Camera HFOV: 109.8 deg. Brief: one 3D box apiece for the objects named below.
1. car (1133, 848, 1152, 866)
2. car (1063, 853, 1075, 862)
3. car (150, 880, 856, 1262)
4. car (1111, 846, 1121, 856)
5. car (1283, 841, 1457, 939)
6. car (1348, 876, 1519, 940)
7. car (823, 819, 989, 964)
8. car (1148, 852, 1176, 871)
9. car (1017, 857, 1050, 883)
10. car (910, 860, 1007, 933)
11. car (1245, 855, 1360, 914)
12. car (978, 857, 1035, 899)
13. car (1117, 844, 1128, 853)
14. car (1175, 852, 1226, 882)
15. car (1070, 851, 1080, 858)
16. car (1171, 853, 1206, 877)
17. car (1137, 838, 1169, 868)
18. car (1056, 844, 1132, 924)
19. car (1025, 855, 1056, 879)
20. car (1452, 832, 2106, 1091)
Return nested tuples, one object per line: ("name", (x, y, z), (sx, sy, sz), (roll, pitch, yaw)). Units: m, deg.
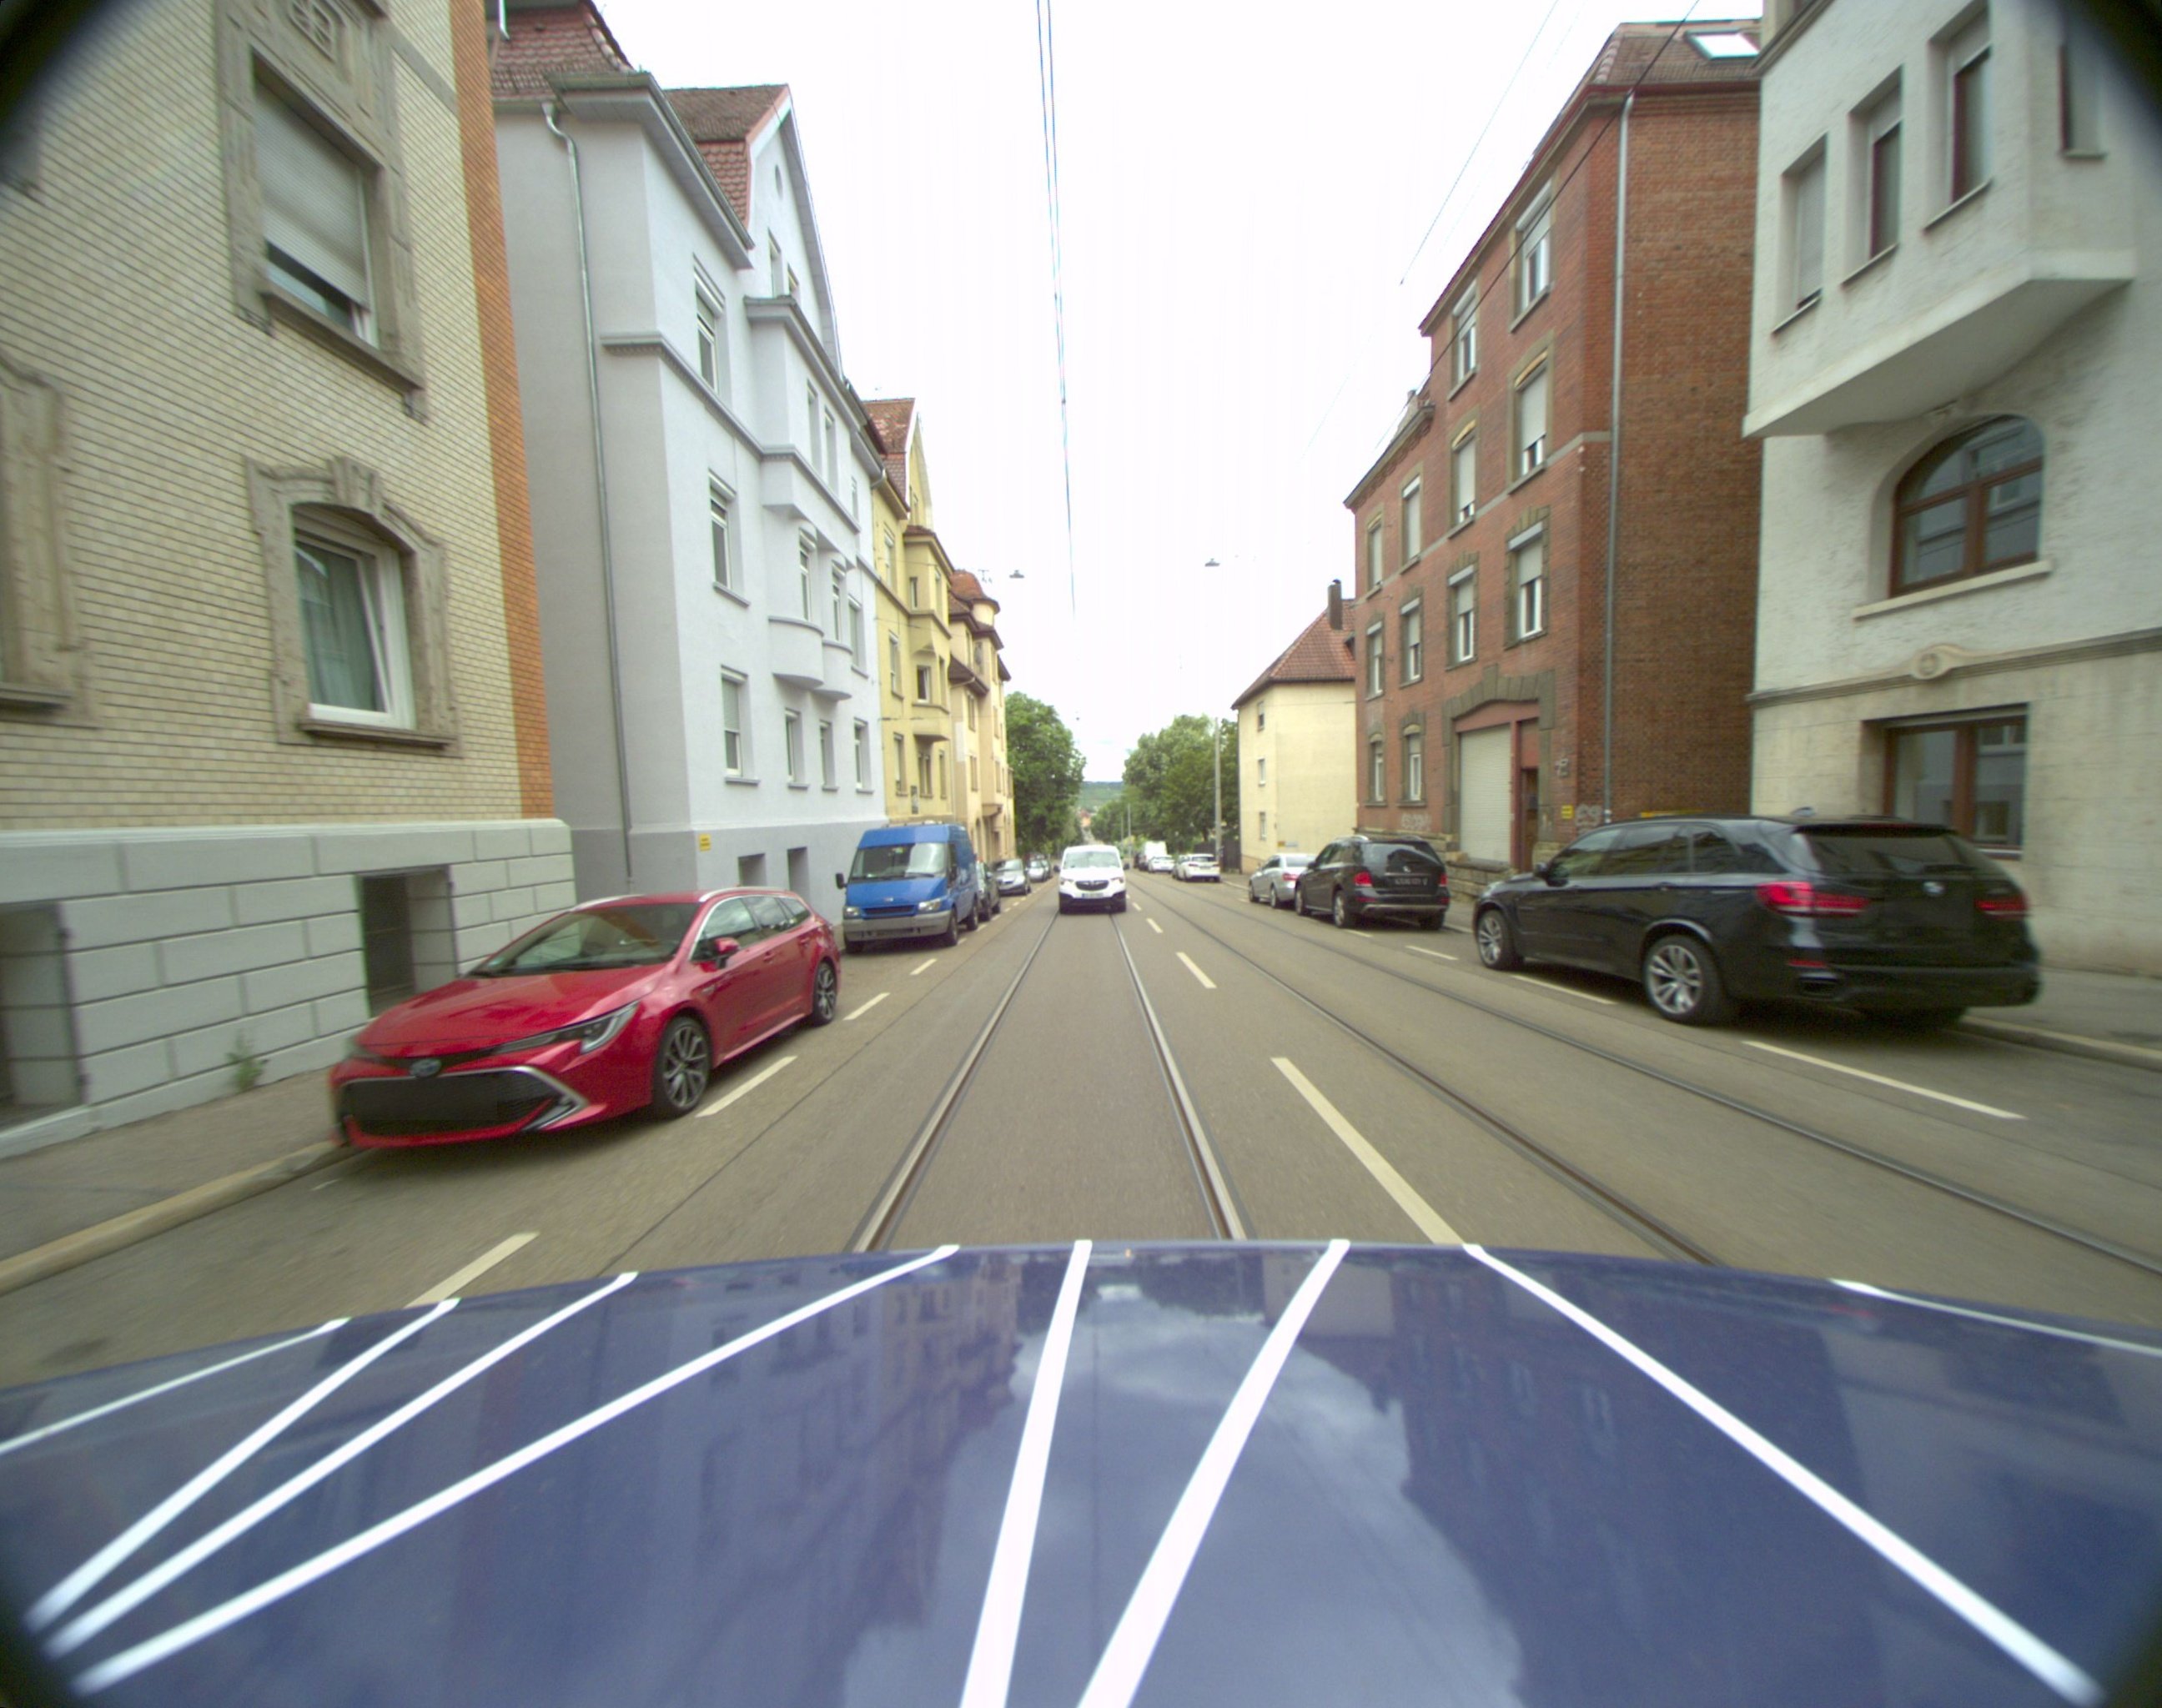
("car", (6.627, 0.284, 82.554), (1.766, 1.765, 4.668), (2, 1, 2))
("car", (-2.166, 0.670, 136.982), (1.863, 1.434, 4.388), (-5, 1, 1))
("car", (-3.374, 1.097, 5.843), (1.784, 1.466, 4.589), (-4, 1, 1))
("car", (7.500, -0.634, 162.911), (1.901, 1.935, 4.290), (0, 1, 1))
("car", (5.712, 0.617, 15.775), (1.832, 1.708, 4.913), (0, 0, 1))
("car", (12.678, 1.917, 27.583), (5.186, 1.808, 1.941), (4, 1, 1))
("car", (-3.241, 0.590, 15.266), (1.998, 2.363, 5.055), (-2, 1, 1))
("car", (6.144, 0.529, 57.924), (1.723, 1.395, 4.313), (1, 0, 1))
("car", (-2.945, 0.968, 47.833), (1.699, 1.396, 3.667), (-4, 0, 1))
("car", (-3.128, 1.032, 20.240), (1.784, 1.522, 4.191), (-5, 1, 0))
("car", (5.863, 0.739, 20.768), (1.832, 1.420, 4.839), (0, 0, 1))
("car", (-3.105, 0.963, 32.332), (1.832, 1.510, 4.028), (-4, 0, 1))
("car", (7.889, -1.027, 143.276), (1.856, 1.532, 3.948), (-2, 0, 1))
("car", (6.242, 0.636, 40.089), (1.832, 1.420, 4.626), (2, 0, -1))
("car", (-1.281, 0.124, 165.917), (1.822, 1.344, 3.940), (-3, 0, 2))
("car", (6.310, 0.621, 44.959), (1.604, 1.360, 3.807), (2, 0, 2))
("car", (6.403, -0.088, 68.177), (2.164, 2.591, 6.218), (1, 0, -1))
("car", (0.386, 0.688, 20.236), (1.759, 1.824, 4.448), (-2, 1, 2))
("car", (-2.827, 0.895, 54.066), (1.844, 1.395, 4.166), (-4, 1, 1))
("car", (5.667, 0.685, 7.330), (1.878, 1.654, 4.892), (0, 0, 1))
